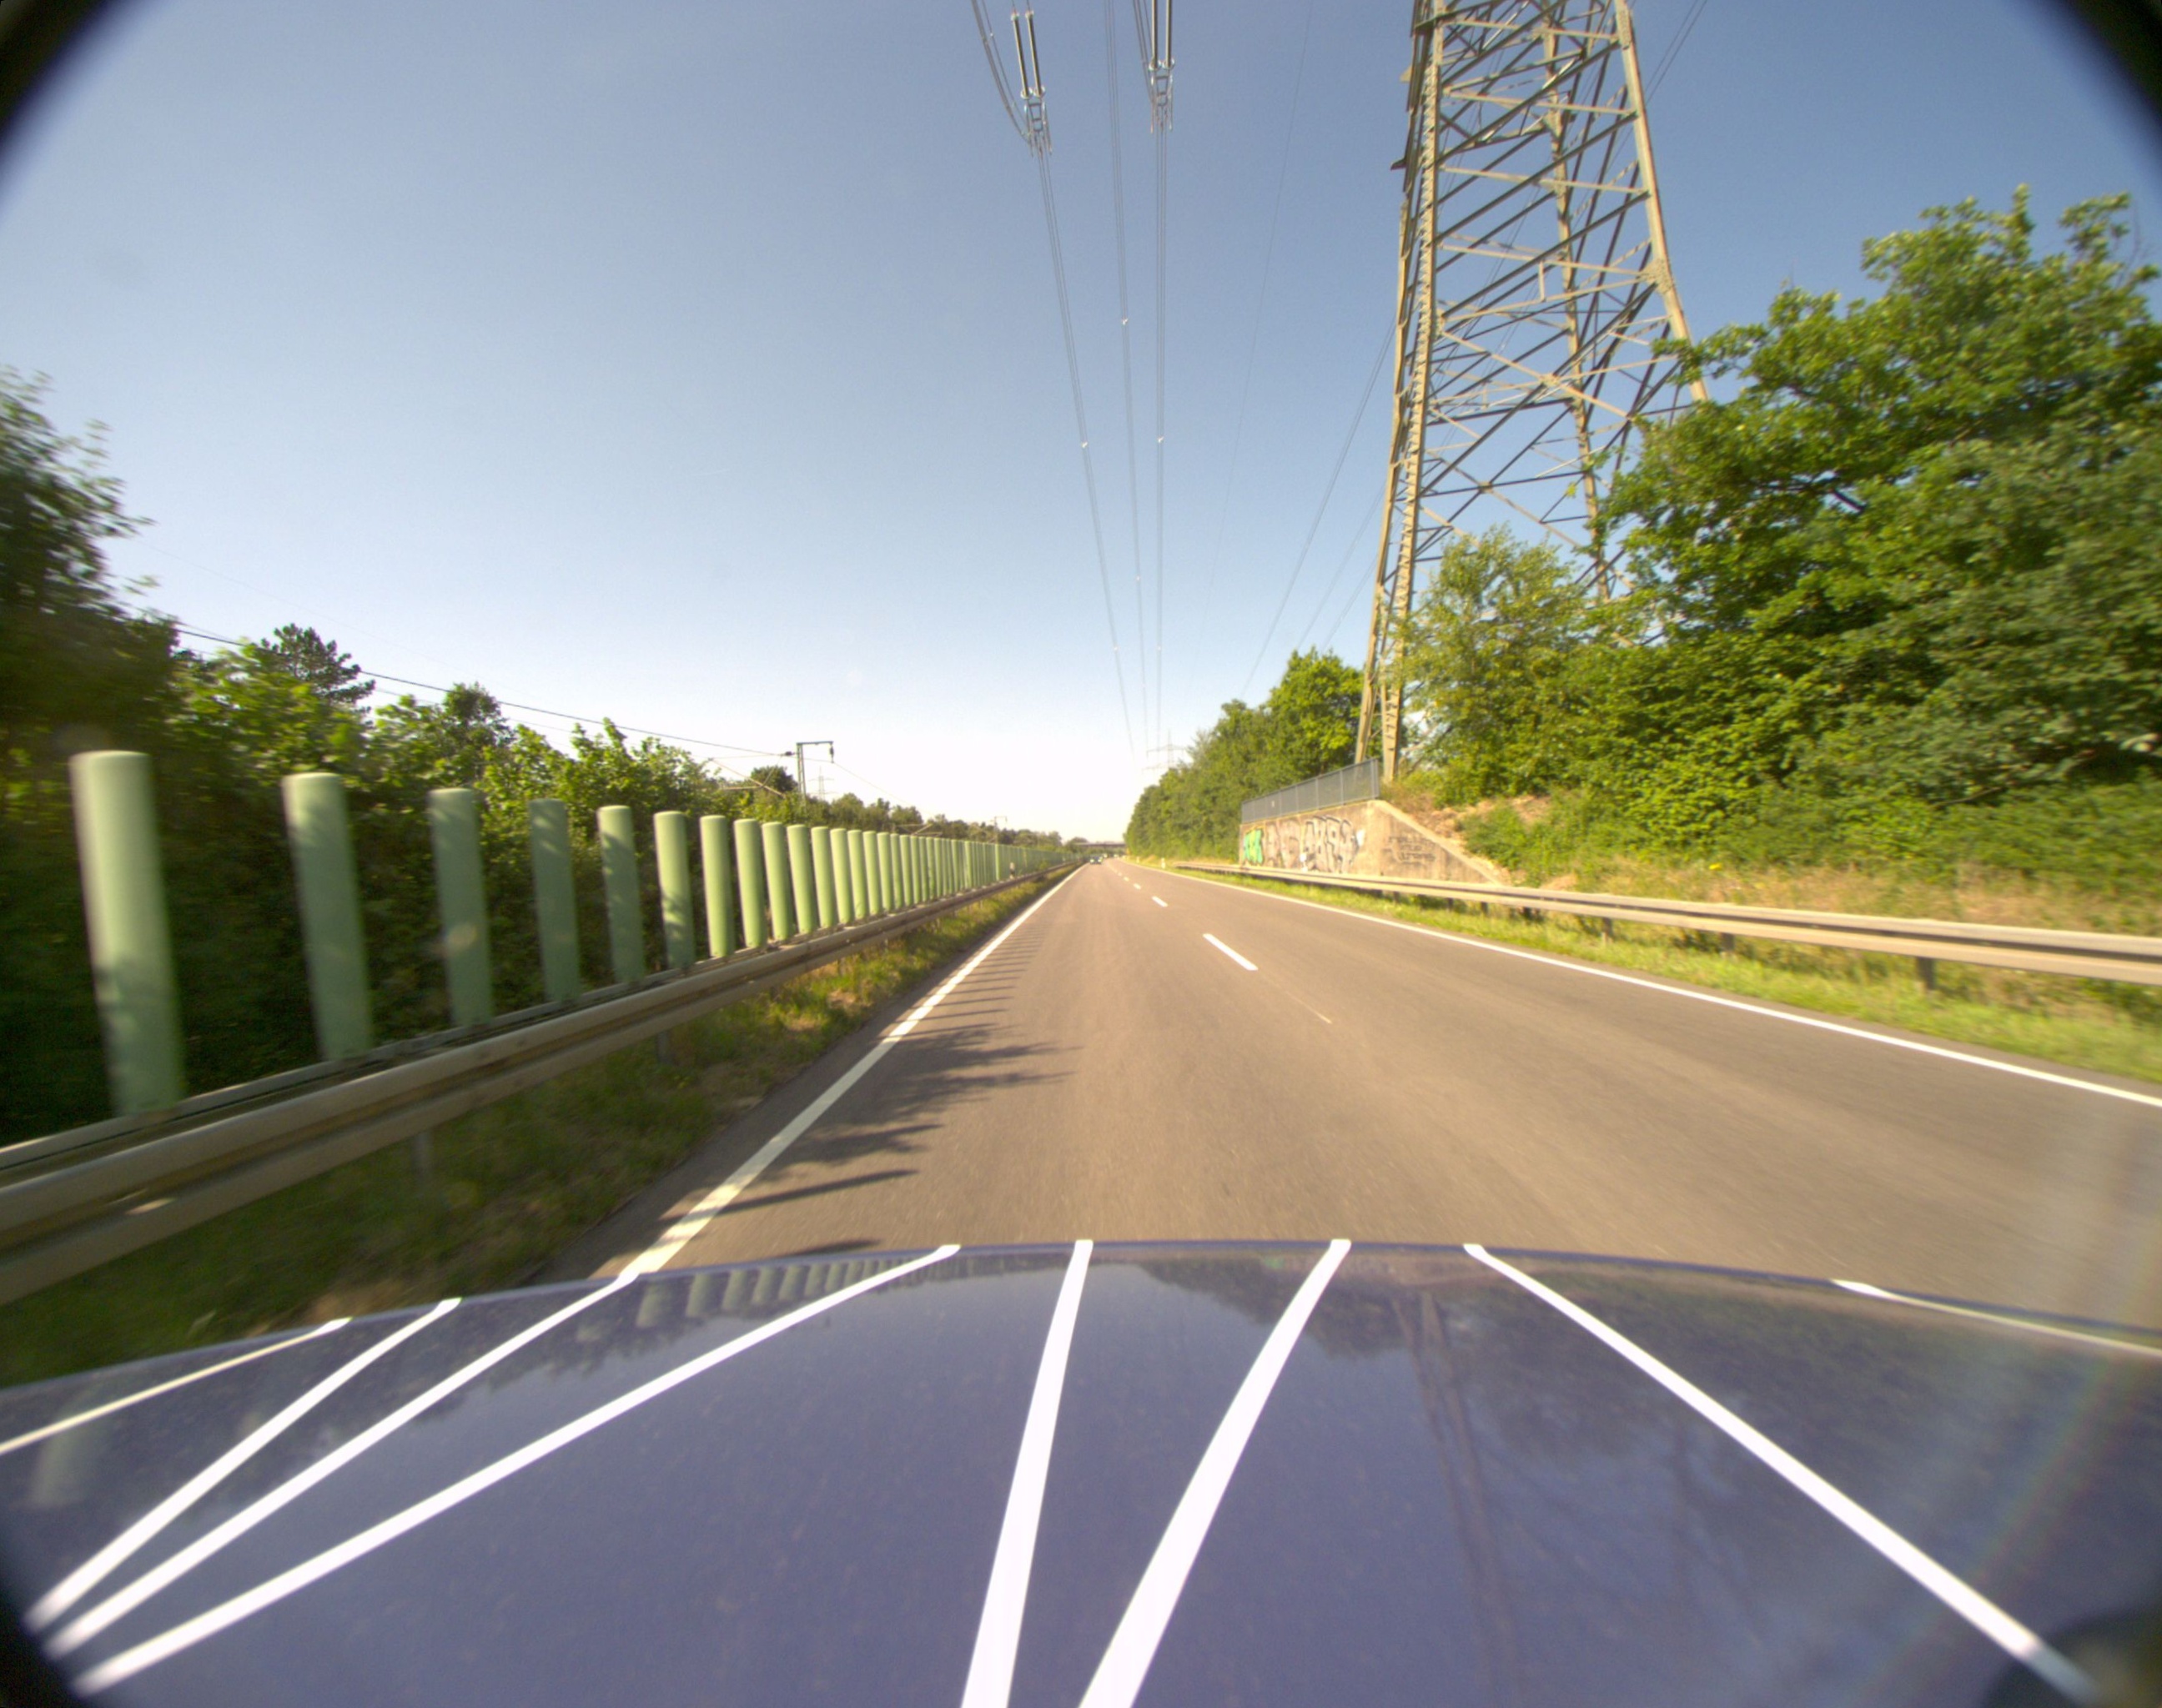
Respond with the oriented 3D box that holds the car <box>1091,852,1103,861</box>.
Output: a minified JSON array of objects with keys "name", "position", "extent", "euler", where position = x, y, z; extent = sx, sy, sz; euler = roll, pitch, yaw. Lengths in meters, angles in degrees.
[{"name":"car","position":[2.700,0.386,128.538],"extent":[1.787,1.550,4.001],"euler":[-1,0,3]}]
